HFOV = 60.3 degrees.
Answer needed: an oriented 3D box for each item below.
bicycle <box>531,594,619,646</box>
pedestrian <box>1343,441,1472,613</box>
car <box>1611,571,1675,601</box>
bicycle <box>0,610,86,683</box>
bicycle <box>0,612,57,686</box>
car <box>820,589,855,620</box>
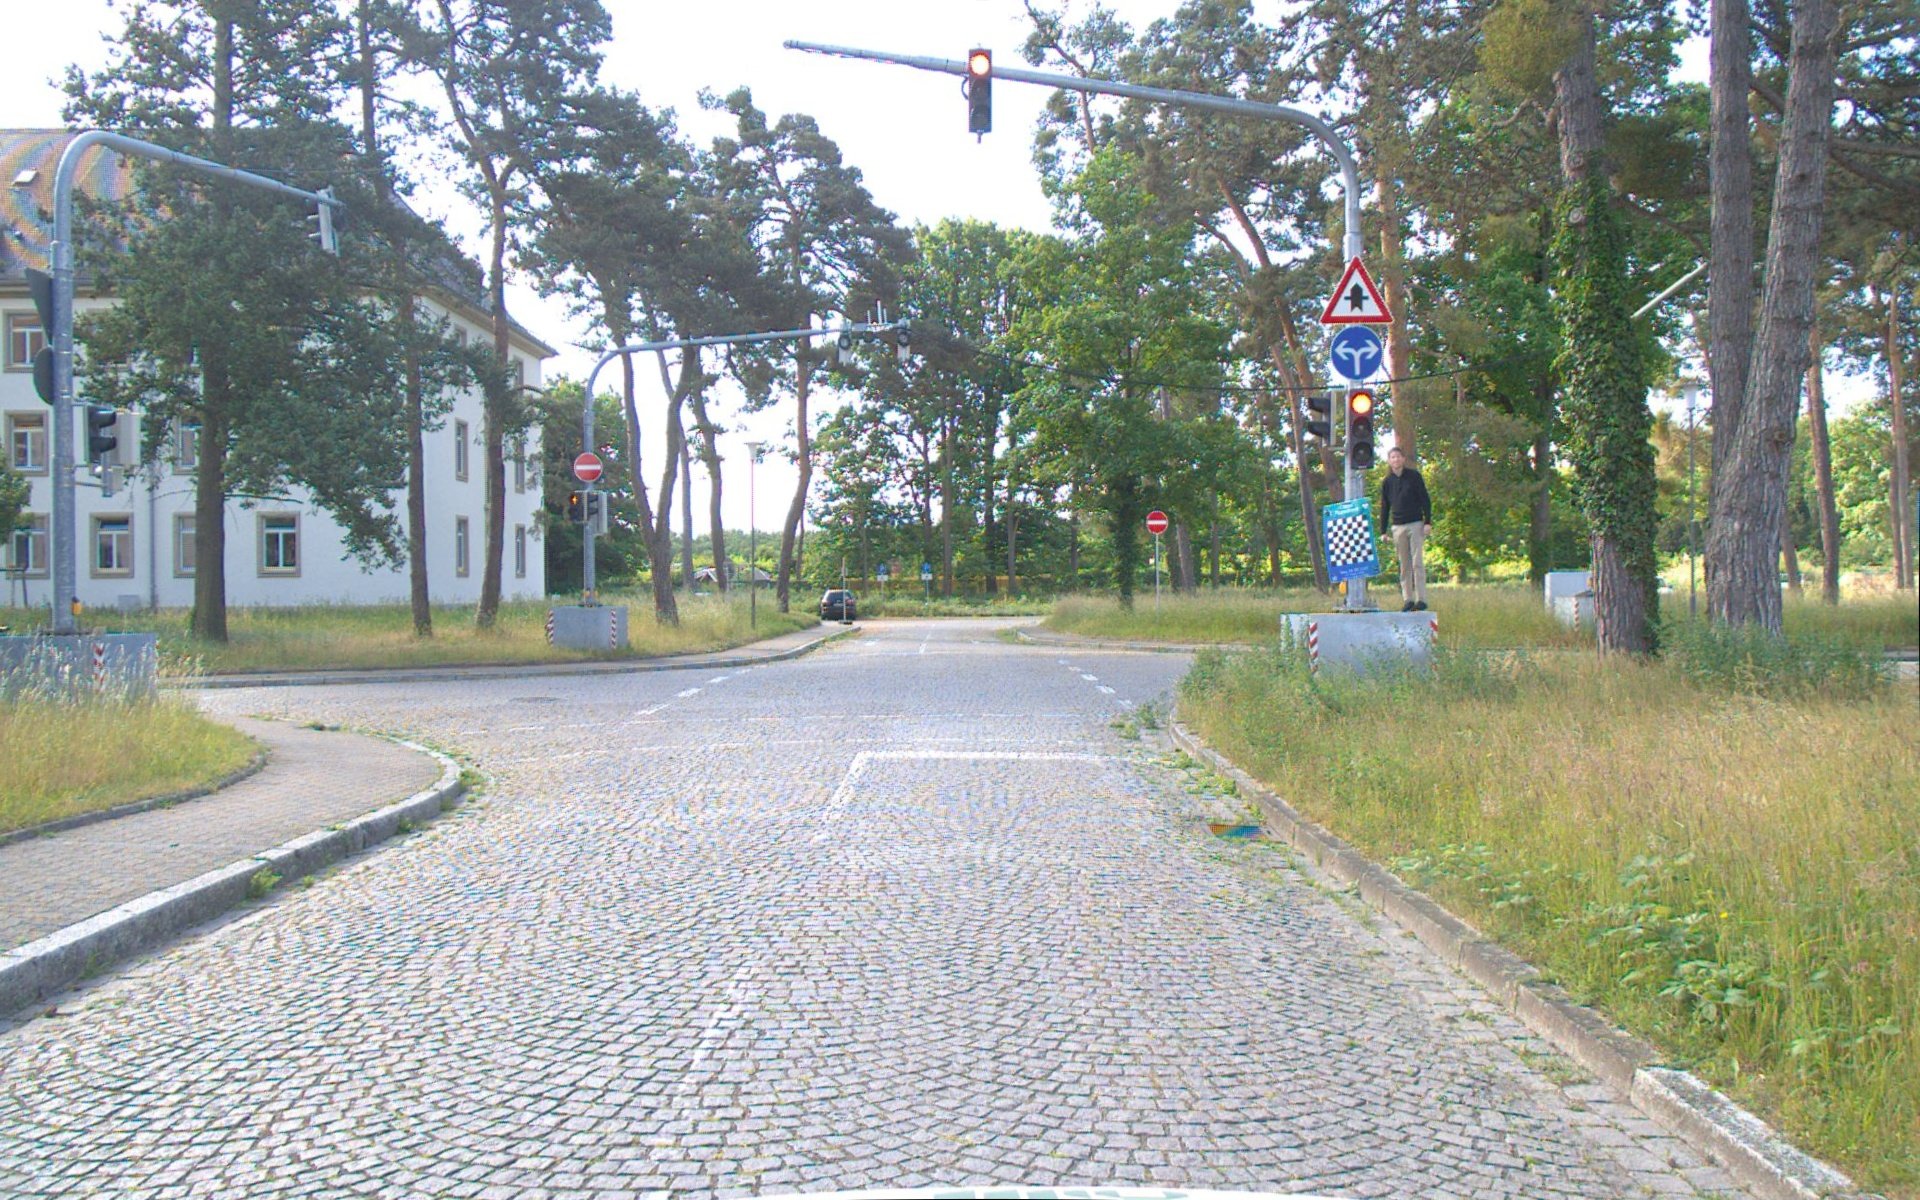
[{"bbox_3d":[-8.499,0.426,36.605,0.623,1.084,1.942,-1,1,38],"label":"bicycle"},{"bbox_3d":[5.003,-0.788,18.469,1.146,1.827,1.061,-1,0,29],"label":"pedestrian"},{"bbox_3d":[38.139,-0.776,92.463,1.790,1.609,4.162,-1,1,-1],"label":"car"},{"bbox_3d":[-16.586,0.820,29.252,1.905,1.242,0.635,-1,0,-1],"label":"bicycle"},{"bbox_3d":[-16.677,0.847,28.536,1.824,1.242,0.635,-1,0,-1],"label":"bicycle"},{"bbox_3d":[-6.336,0.231,86.026,1.675,1.522,3.917,-1,0,-3],"label":"car"}]
